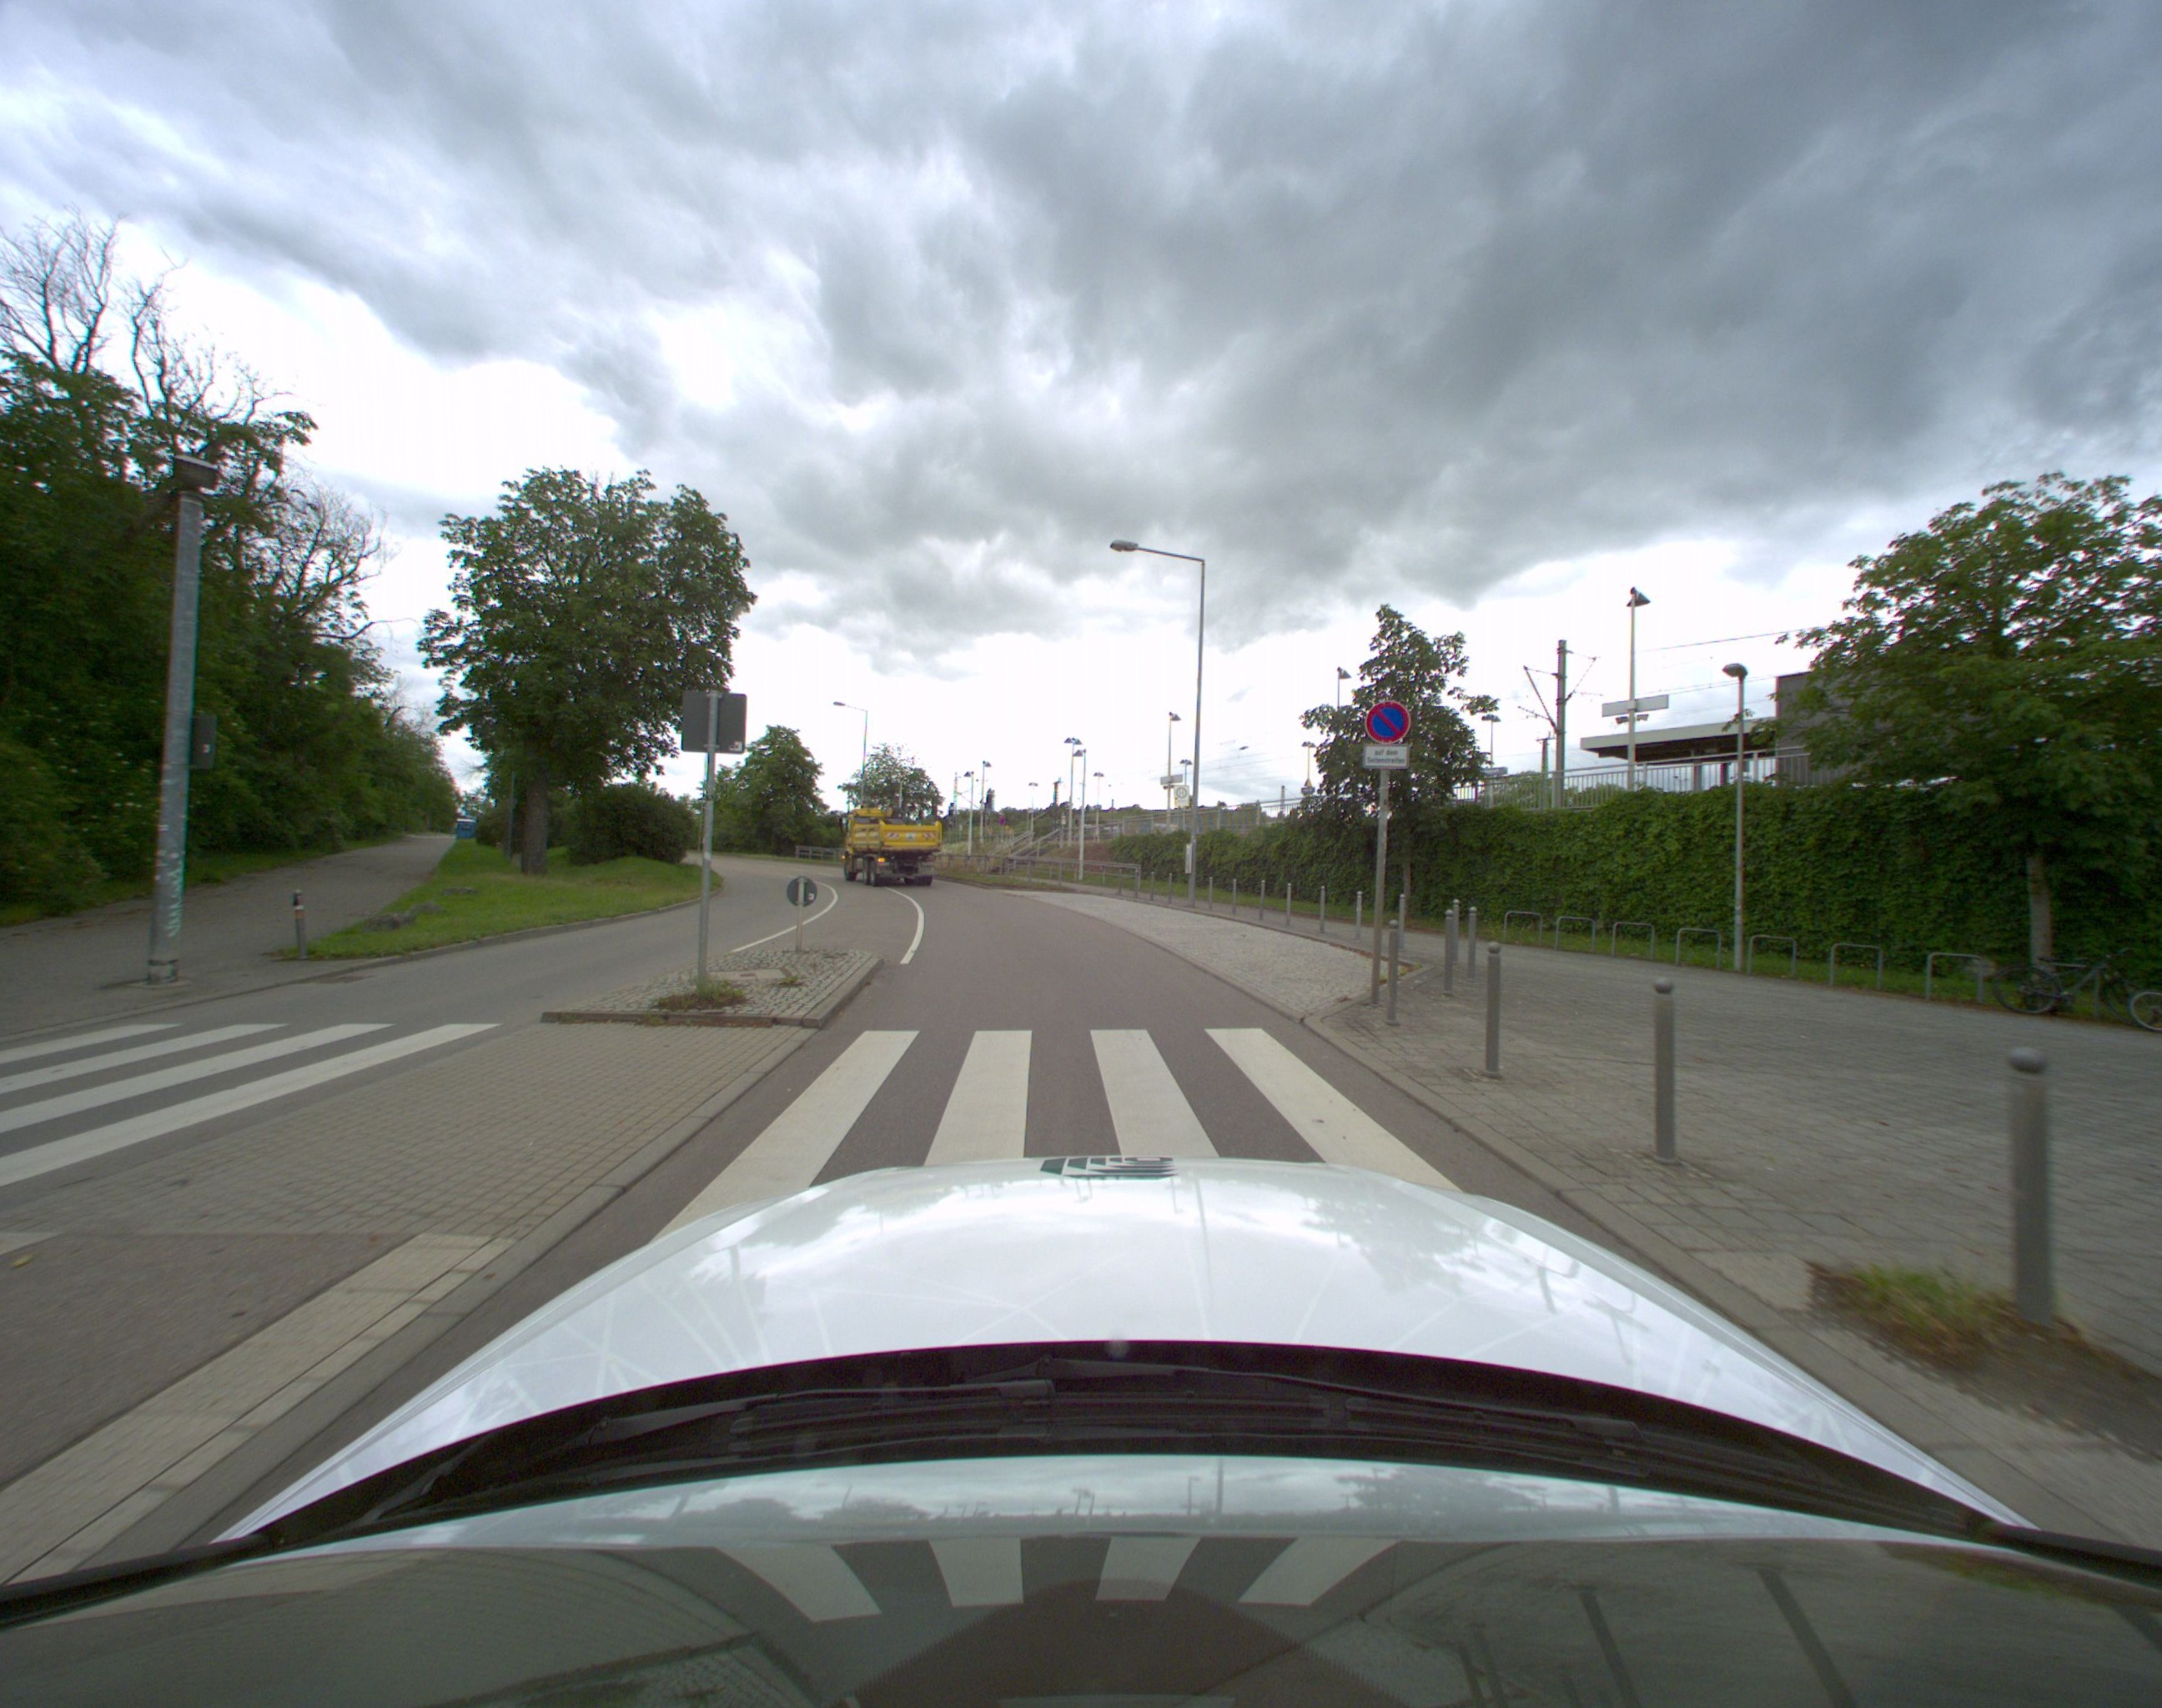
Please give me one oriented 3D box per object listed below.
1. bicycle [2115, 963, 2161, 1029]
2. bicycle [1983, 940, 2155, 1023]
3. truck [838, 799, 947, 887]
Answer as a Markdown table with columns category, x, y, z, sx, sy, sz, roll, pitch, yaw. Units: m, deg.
| category | x | y | z | sx | sy | sz | roll | pitch | yaw |
| --- | --- | --- | --- | --- | --- | --- | --- | --- | --- |
| bicycle | 15.712 | 2.057 | 11.457 | 1.567 | 0.854 | 0.464 | 4 | 0 | 5 |
| bicycle | 14.843 | 1.893 | 12.284 | 1.475 | 0.989 | 0.698 | 4 | 0 | 20 |
| truck | -8.635 | -0.534 | 36.458 | 2.780 | 3.483 | 8.058 | 1 | 1 | -27 |
